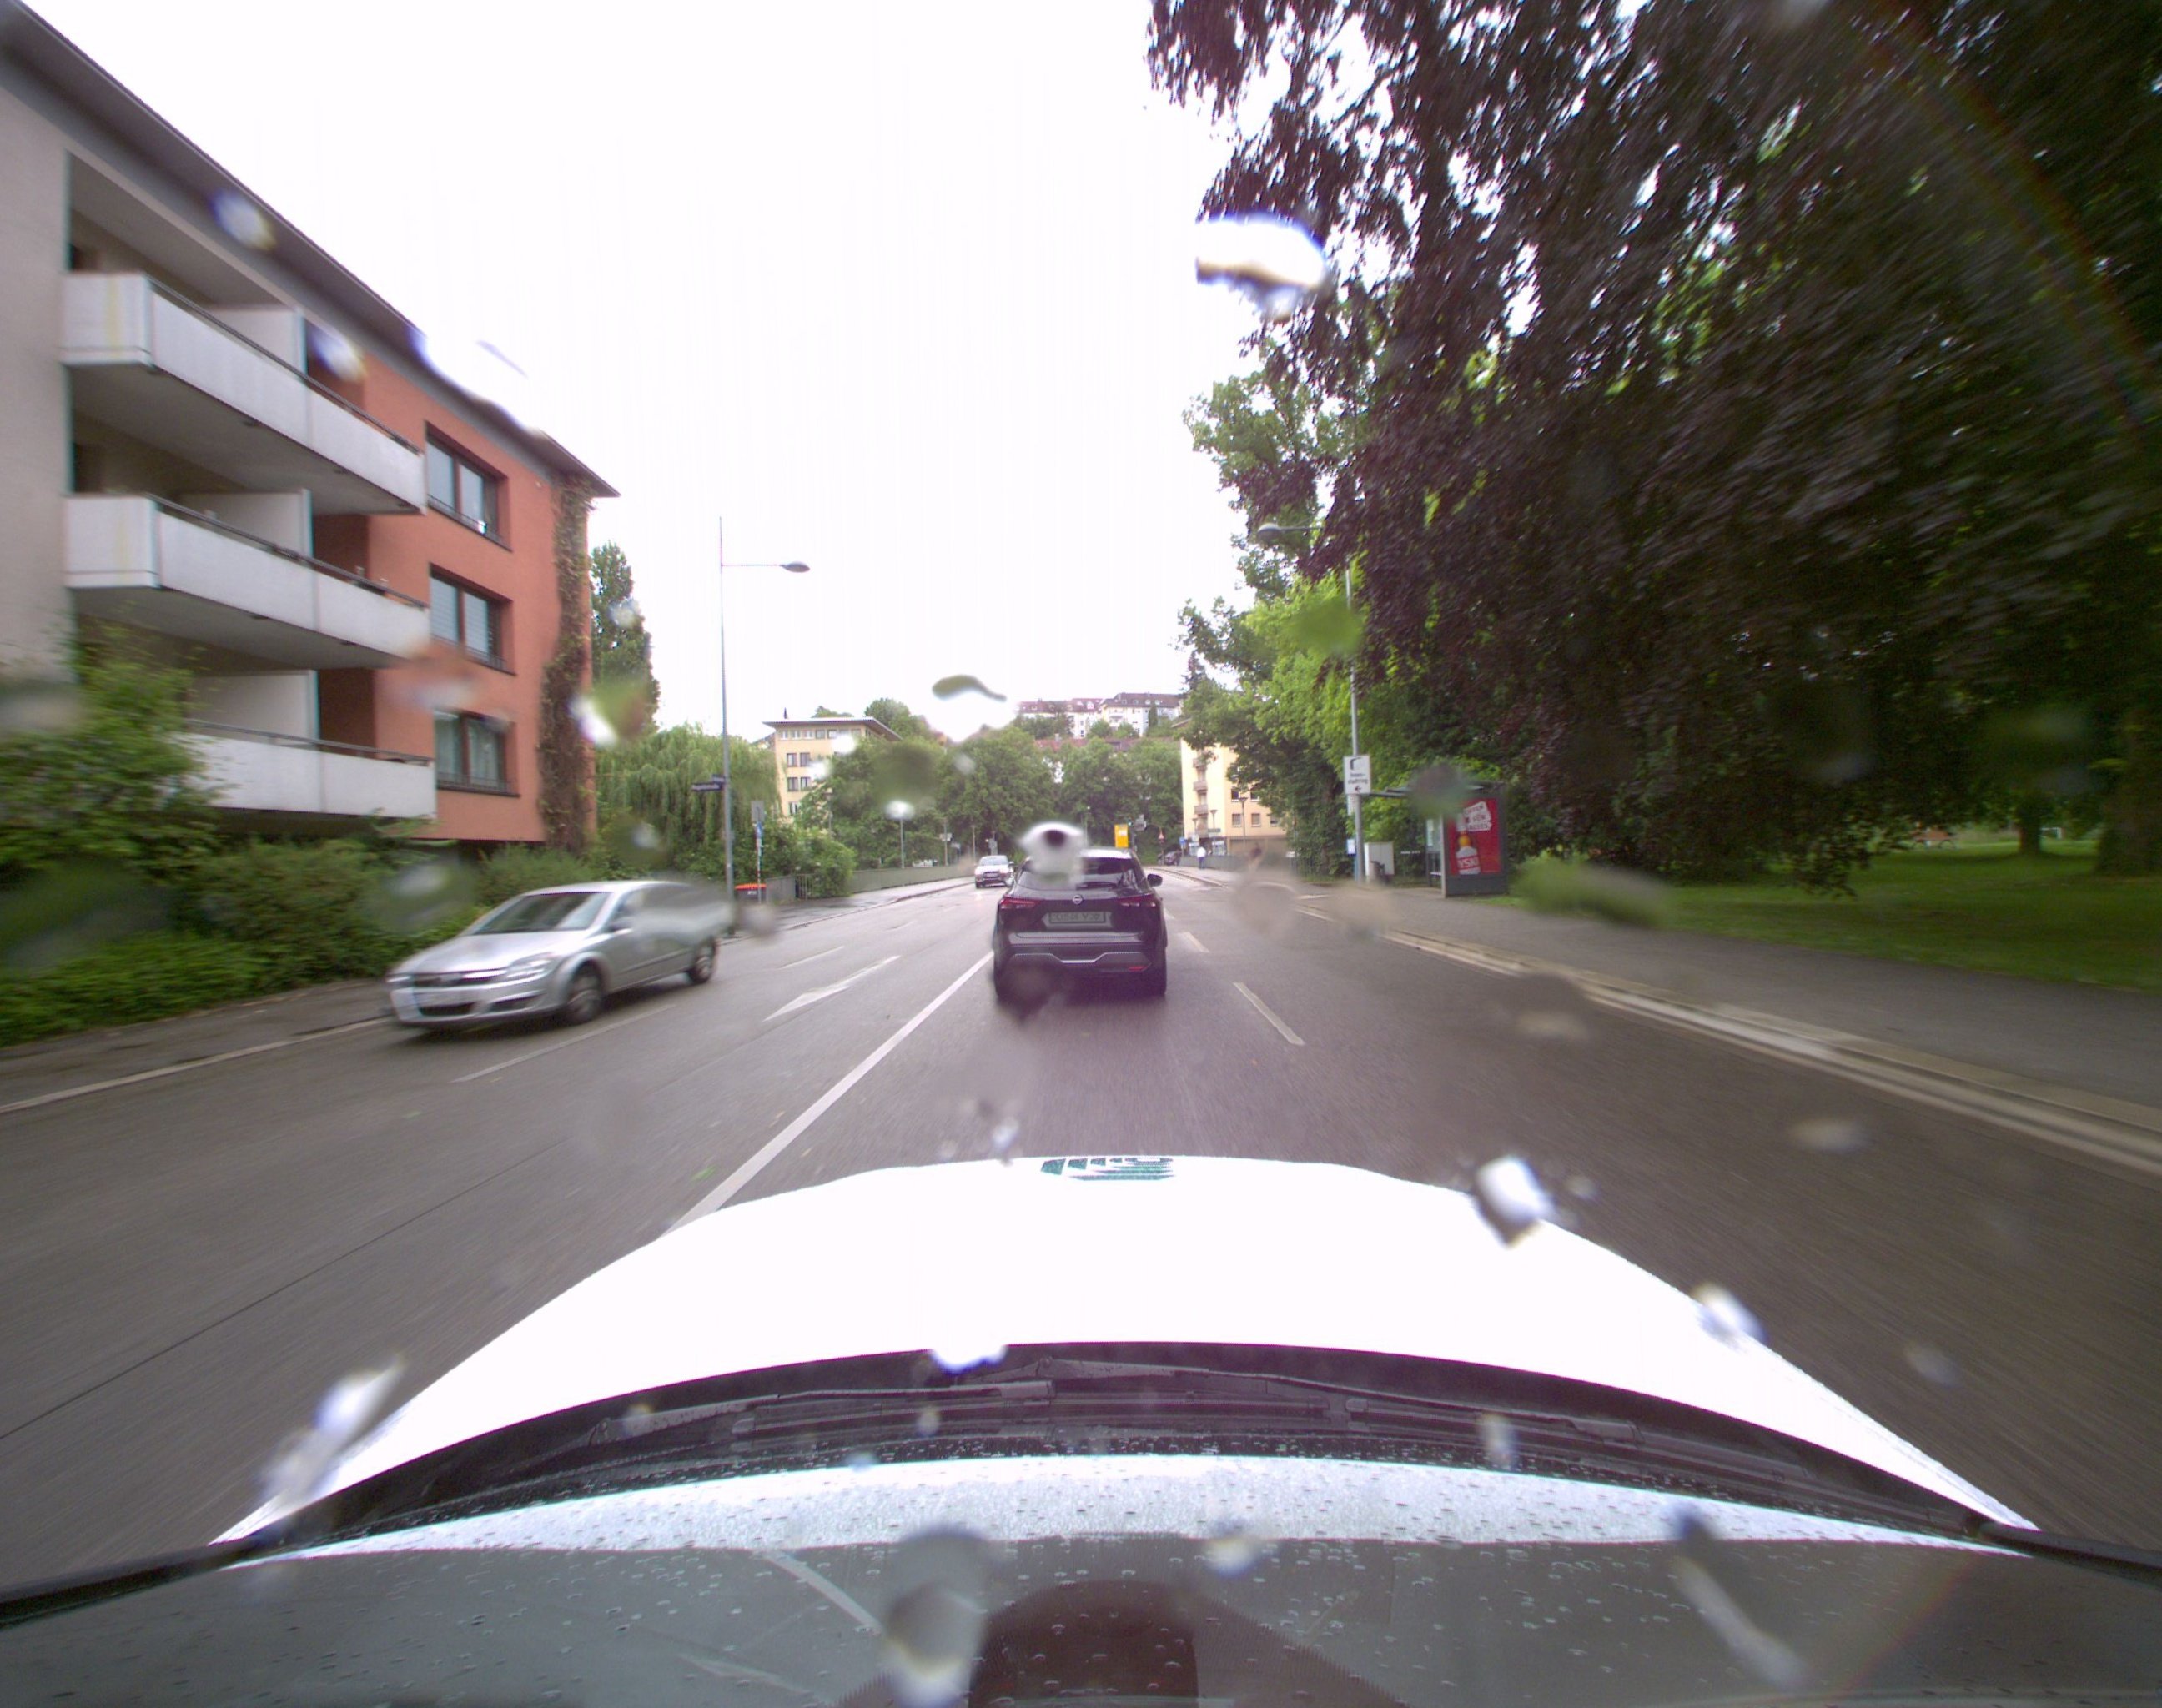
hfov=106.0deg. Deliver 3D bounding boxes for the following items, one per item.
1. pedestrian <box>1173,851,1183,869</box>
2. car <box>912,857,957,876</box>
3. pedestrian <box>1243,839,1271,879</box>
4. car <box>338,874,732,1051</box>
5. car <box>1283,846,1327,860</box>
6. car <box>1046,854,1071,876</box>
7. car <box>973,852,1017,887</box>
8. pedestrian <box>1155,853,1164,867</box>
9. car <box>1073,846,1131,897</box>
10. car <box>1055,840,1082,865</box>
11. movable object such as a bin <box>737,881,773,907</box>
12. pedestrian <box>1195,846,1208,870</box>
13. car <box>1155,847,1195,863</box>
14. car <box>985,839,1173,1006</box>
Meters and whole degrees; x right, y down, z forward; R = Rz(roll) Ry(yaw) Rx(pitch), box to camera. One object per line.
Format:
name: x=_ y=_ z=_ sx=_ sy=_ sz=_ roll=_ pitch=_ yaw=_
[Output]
pedestrian: x=9.053 y=0.560 z=75.830 sx=0.758 sy=1.677 sz=0.781 roll=-4 pitch=0 yaw=1
car: x=-16.313 y=1.416 z=90.938 sx=4.738 sy=1.854 sz=1.995 roll=-2 pitch=1 yaw=-7
pedestrian: x=7.636 y=0.217 z=35.400 sx=0.844 sy=1.676 sz=1.168 roll=-4 pitch=-1 yaw=1
car: x=-5.974 y=1.064 z=9.640 sx=1.807 sy=1.415 sz=4.049 roll=-3 pitch=0 yaw=1
car: x=25.604 y=-0.159 z=93.121 sx=4.447 sy=1.376 sz=1.808 roll=-3 pitch=2 yaw=-15
car: x=-1.678 y=0.797 z=61.834 sx=1.776 sy=1.474 sz=4.165 roll=-3 pitch=0 yaw=-1
car: x=-4.393 y=0.765 z=42.282 sx=1.808 sy=1.579 sz=4.230 roll=-3 pitch=0 yaw=-1
pedestrian: x=9.403 y=0.676 z=97.731 sx=0.859 sy=1.619 sz=0.840 roll=-3 pitch=-1 yaw=1
car: x=0.722 y=0.553 z=27.841 sx=1.804 sy=1.603 sz=4.001 roll=-1 pitch=0 yaw=2
car: x=-1.189 y=-0.169 z=80.845 sx=2.281 sy=2.308 sz=6.511 roll=-3 pitch=0 yaw=1
movable object such as a bin: x=-12.044 y=1.474 z=30.113 sx=0.962 sy=0.877 sz=0.833 roll=-3 pitch=-1 yaw=1
pedestrian: x=8.901 y=0.285 z=60.274 sx=0.777 sy=1.752 sz=1.061 roll=-2 pitch=-1 yaw=1
car: x=11.361 y=0.128 z=98.027 sx=4.387 sy=1.649 sz=1.868 roll=-3 pitch=-1 yaw=-24
car: x=0.037 y=0.662 z=9.966 sx=1.804 sy=1.603 sz=4.001 roll=-1 pitch=0 yaw=2
